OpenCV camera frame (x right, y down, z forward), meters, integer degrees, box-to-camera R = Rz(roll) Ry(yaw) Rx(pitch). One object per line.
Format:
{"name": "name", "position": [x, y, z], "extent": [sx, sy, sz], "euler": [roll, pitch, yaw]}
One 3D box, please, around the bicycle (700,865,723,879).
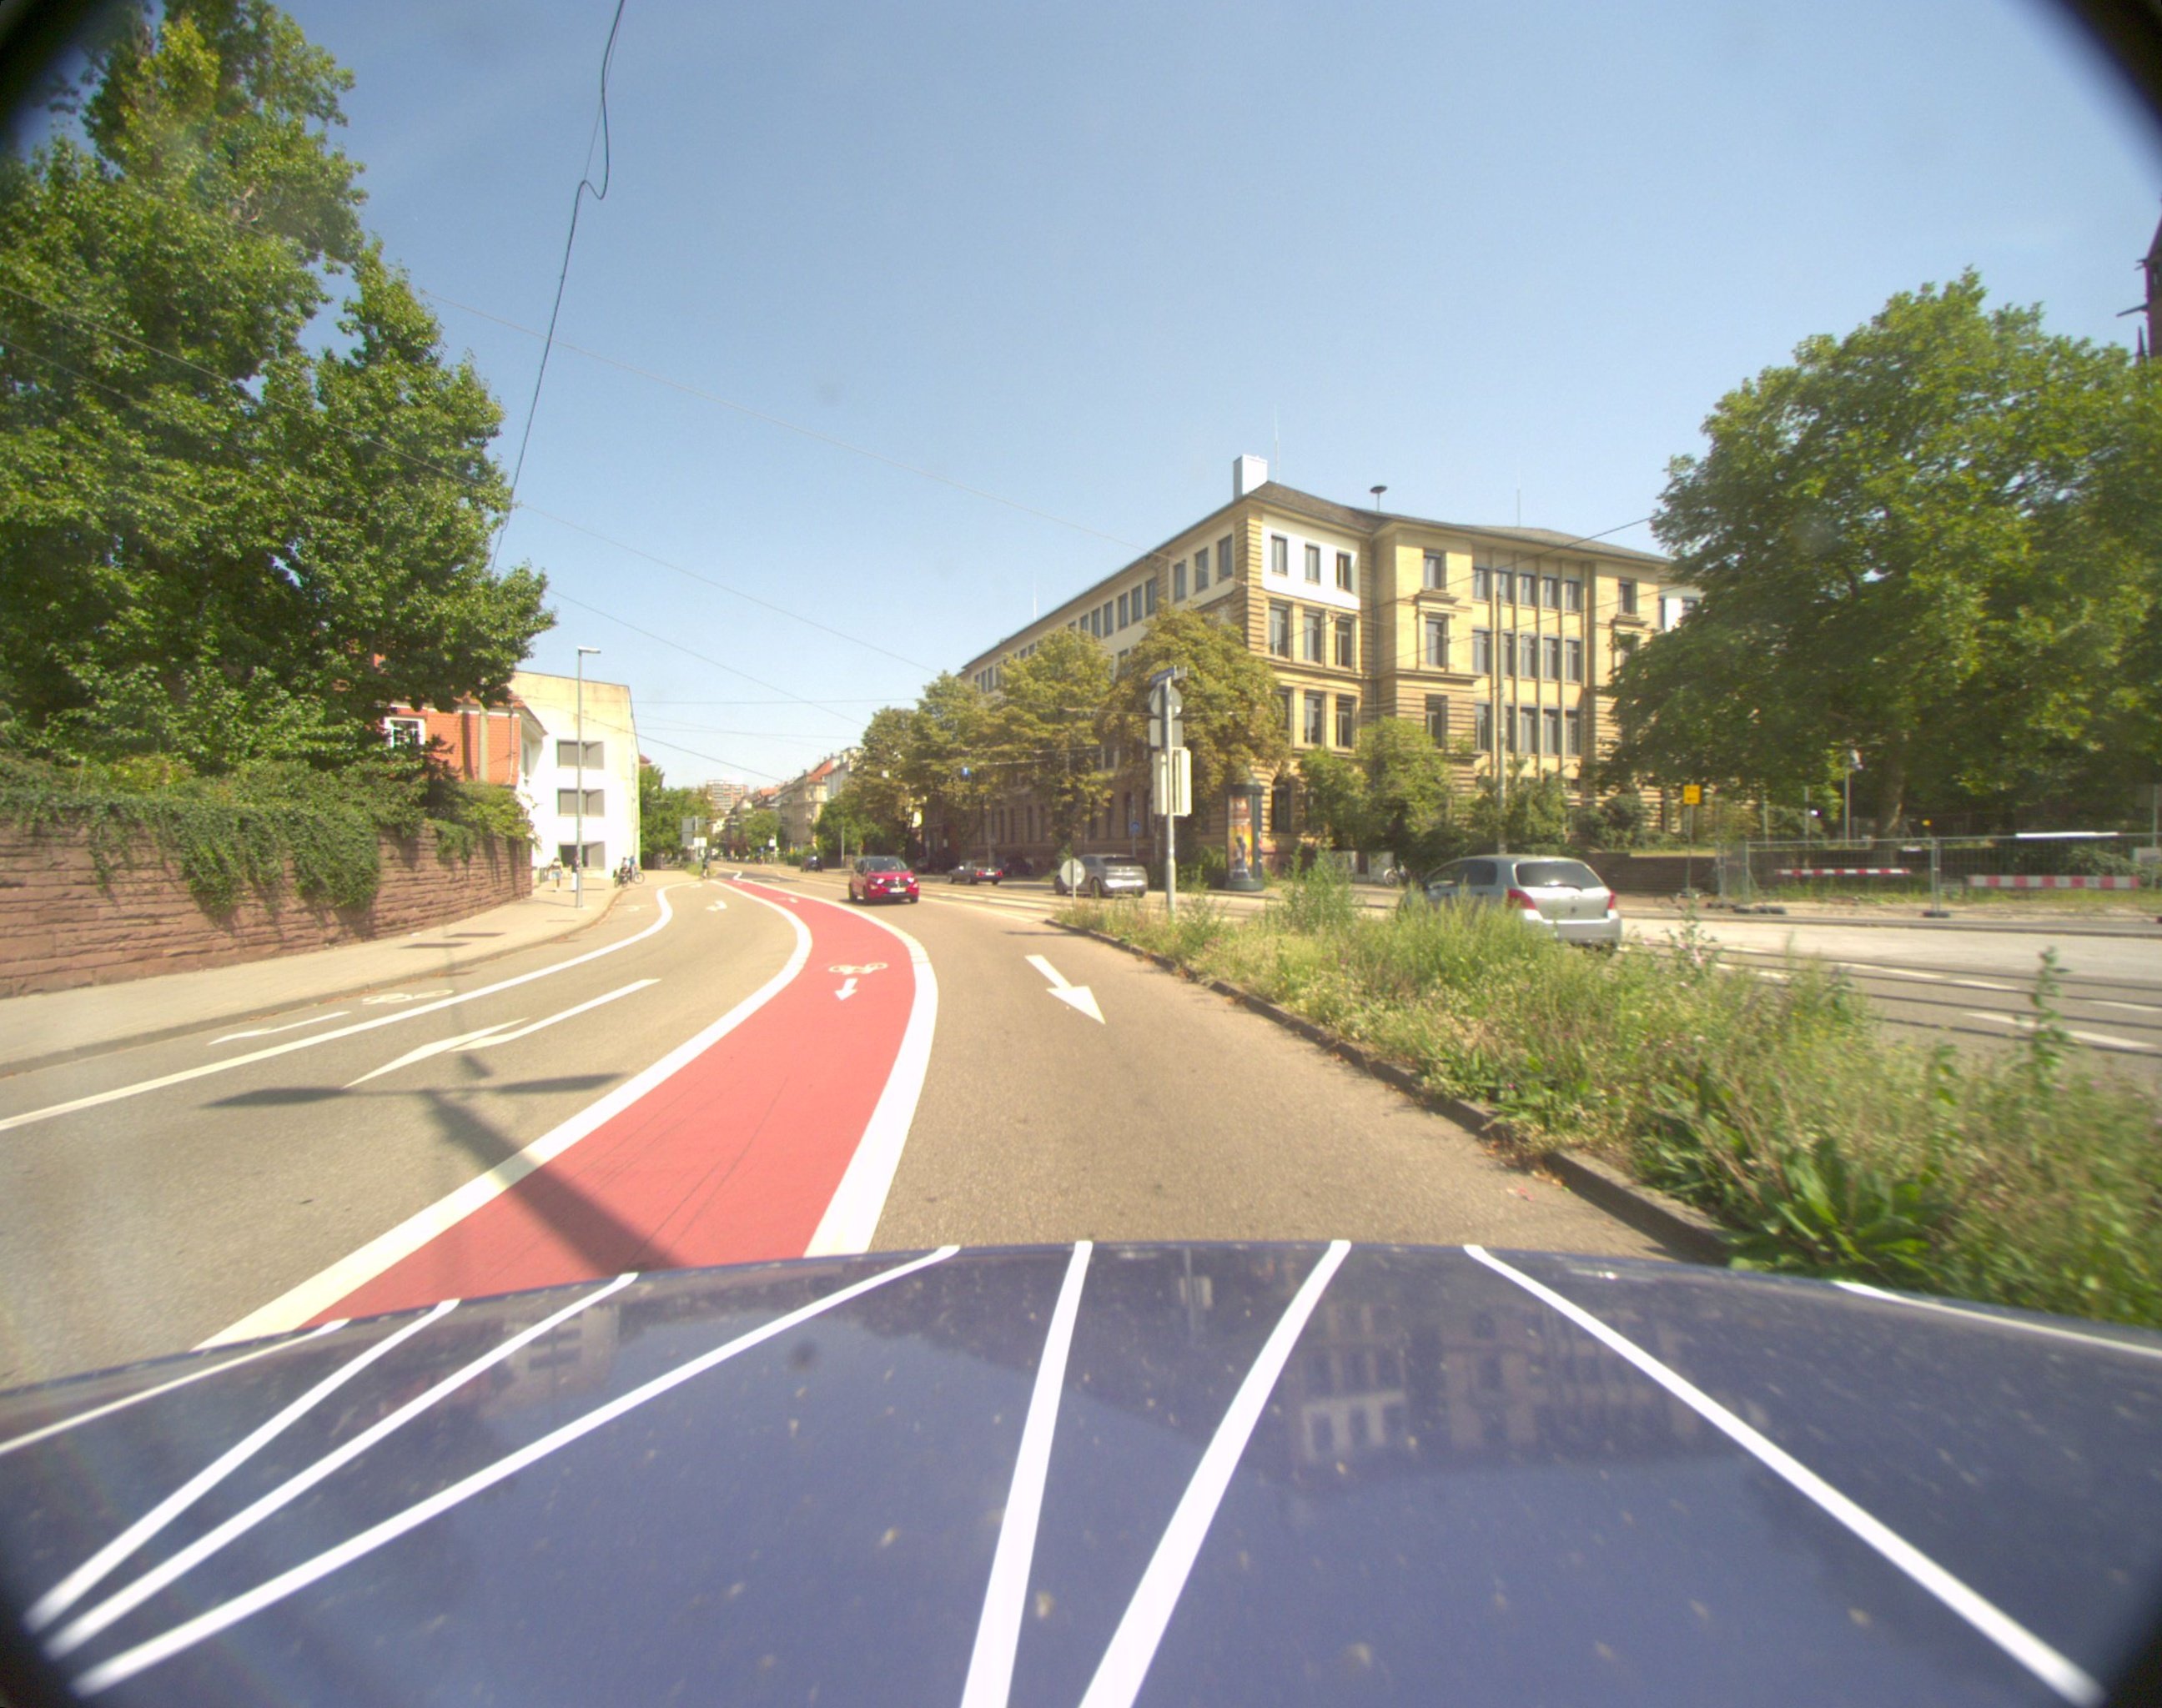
{"name": "bicycle", "position": [-26.631, 1.304, 54.777], "extent": [0.615, 0.994, 1.713], "euler": [0, -1, 8]}

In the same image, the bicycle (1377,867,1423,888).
{"name": "bicycle", "position": [13.982, 1.018, 33.259], "extent": [2.184, 0.889, 0.748], "euler": [0, 0, -33]}

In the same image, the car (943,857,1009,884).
{"name": "car", "position": [-5.781, 0.867, 41.244], "extent": [1.696, 1.370, 4.606], "euler": [-1, 0, -34]}

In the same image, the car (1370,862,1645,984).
{"name": "car", "position": [6.351, 0.907, 11.987], "extent": [1.655, 1.521, 4.323], "euler": [0, 0, -5]}

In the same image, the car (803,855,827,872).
{"name": "car", "position": [-26.686, 0.930, 76.207], "extent": [1.699, 1.645, 3.572], "euler": [-1, 1, -29]}

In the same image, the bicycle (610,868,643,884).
{"name": "bicycle", "position": [-28.181, 1.372, 47.128], "extent": [0.614, 0.994, 1.714], "euler": [0, -1, 22]}

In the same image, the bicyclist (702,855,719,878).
{"name": "bicyclist", "position": [-26.657, 0.899, 54.723], "extent": [0.627, 1.589, 0.993], "euler": [0, 0, 9]}

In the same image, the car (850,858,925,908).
{"name": "car", "position": [-6.733, 0.933, 26.202], "extent": [1.819, 1.542, 4.013], "euler": [-1, 0, -24]}

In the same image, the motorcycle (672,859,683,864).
{"name": "motorcycle", "position": [-83.921, 1.598, 157.984], "extent": [2.005, 1.009, 0.795], "euler": [3, -2, -30]}

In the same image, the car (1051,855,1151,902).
{"name": "car", "position": [0.623, 0.839, 28.281], "extent": [1.780, 1.601, 4.663], "euler": [-1, 0, -26]}

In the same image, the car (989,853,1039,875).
{"name": "car", "position": [-4.733, 0.660, 54.268], "extent": [1.816, 1.487, 4.171], "euler": [-1, 0, 24]}

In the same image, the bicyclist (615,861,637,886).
{"name": "bicyclist", "position": [-28.189, 1.235, 47.073], "extent": [0.626, 1.530, 0.905], "euler": [1, -1, 23]}

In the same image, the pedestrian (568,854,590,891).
{"name": "pedestrian", "position": [-23.061, 0.853, 34.925], "extent": [0.730, 1.656, 0.877], "euler": [-1, 0, -27]}

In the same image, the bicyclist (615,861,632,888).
{"name": "bicyclist", "position": [-24.350, 1.067, 40.446], "extent": [0.748, 1.403, 0.959], "euler": [-1, 0, -29]}

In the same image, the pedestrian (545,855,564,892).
{"name": "pedestrian", "position": [-23.928, 0.868, 34.549], "extent": [0.621, 1.656, 0.486], "euler": [-1, 1, -30]}

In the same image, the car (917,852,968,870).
{"name": "car", "position": [-12.282, 0.633, 67.423], "extent": [1.816, 1.453, 4.438], "euler": [-1, 0, 34]}

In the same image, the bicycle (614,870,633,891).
{"name": "bicycle", "position": [-24.400, 1.385, 40.541], "extent": [0.743, 1.042, 2.228], "euler": [-1, 0, -29]}
